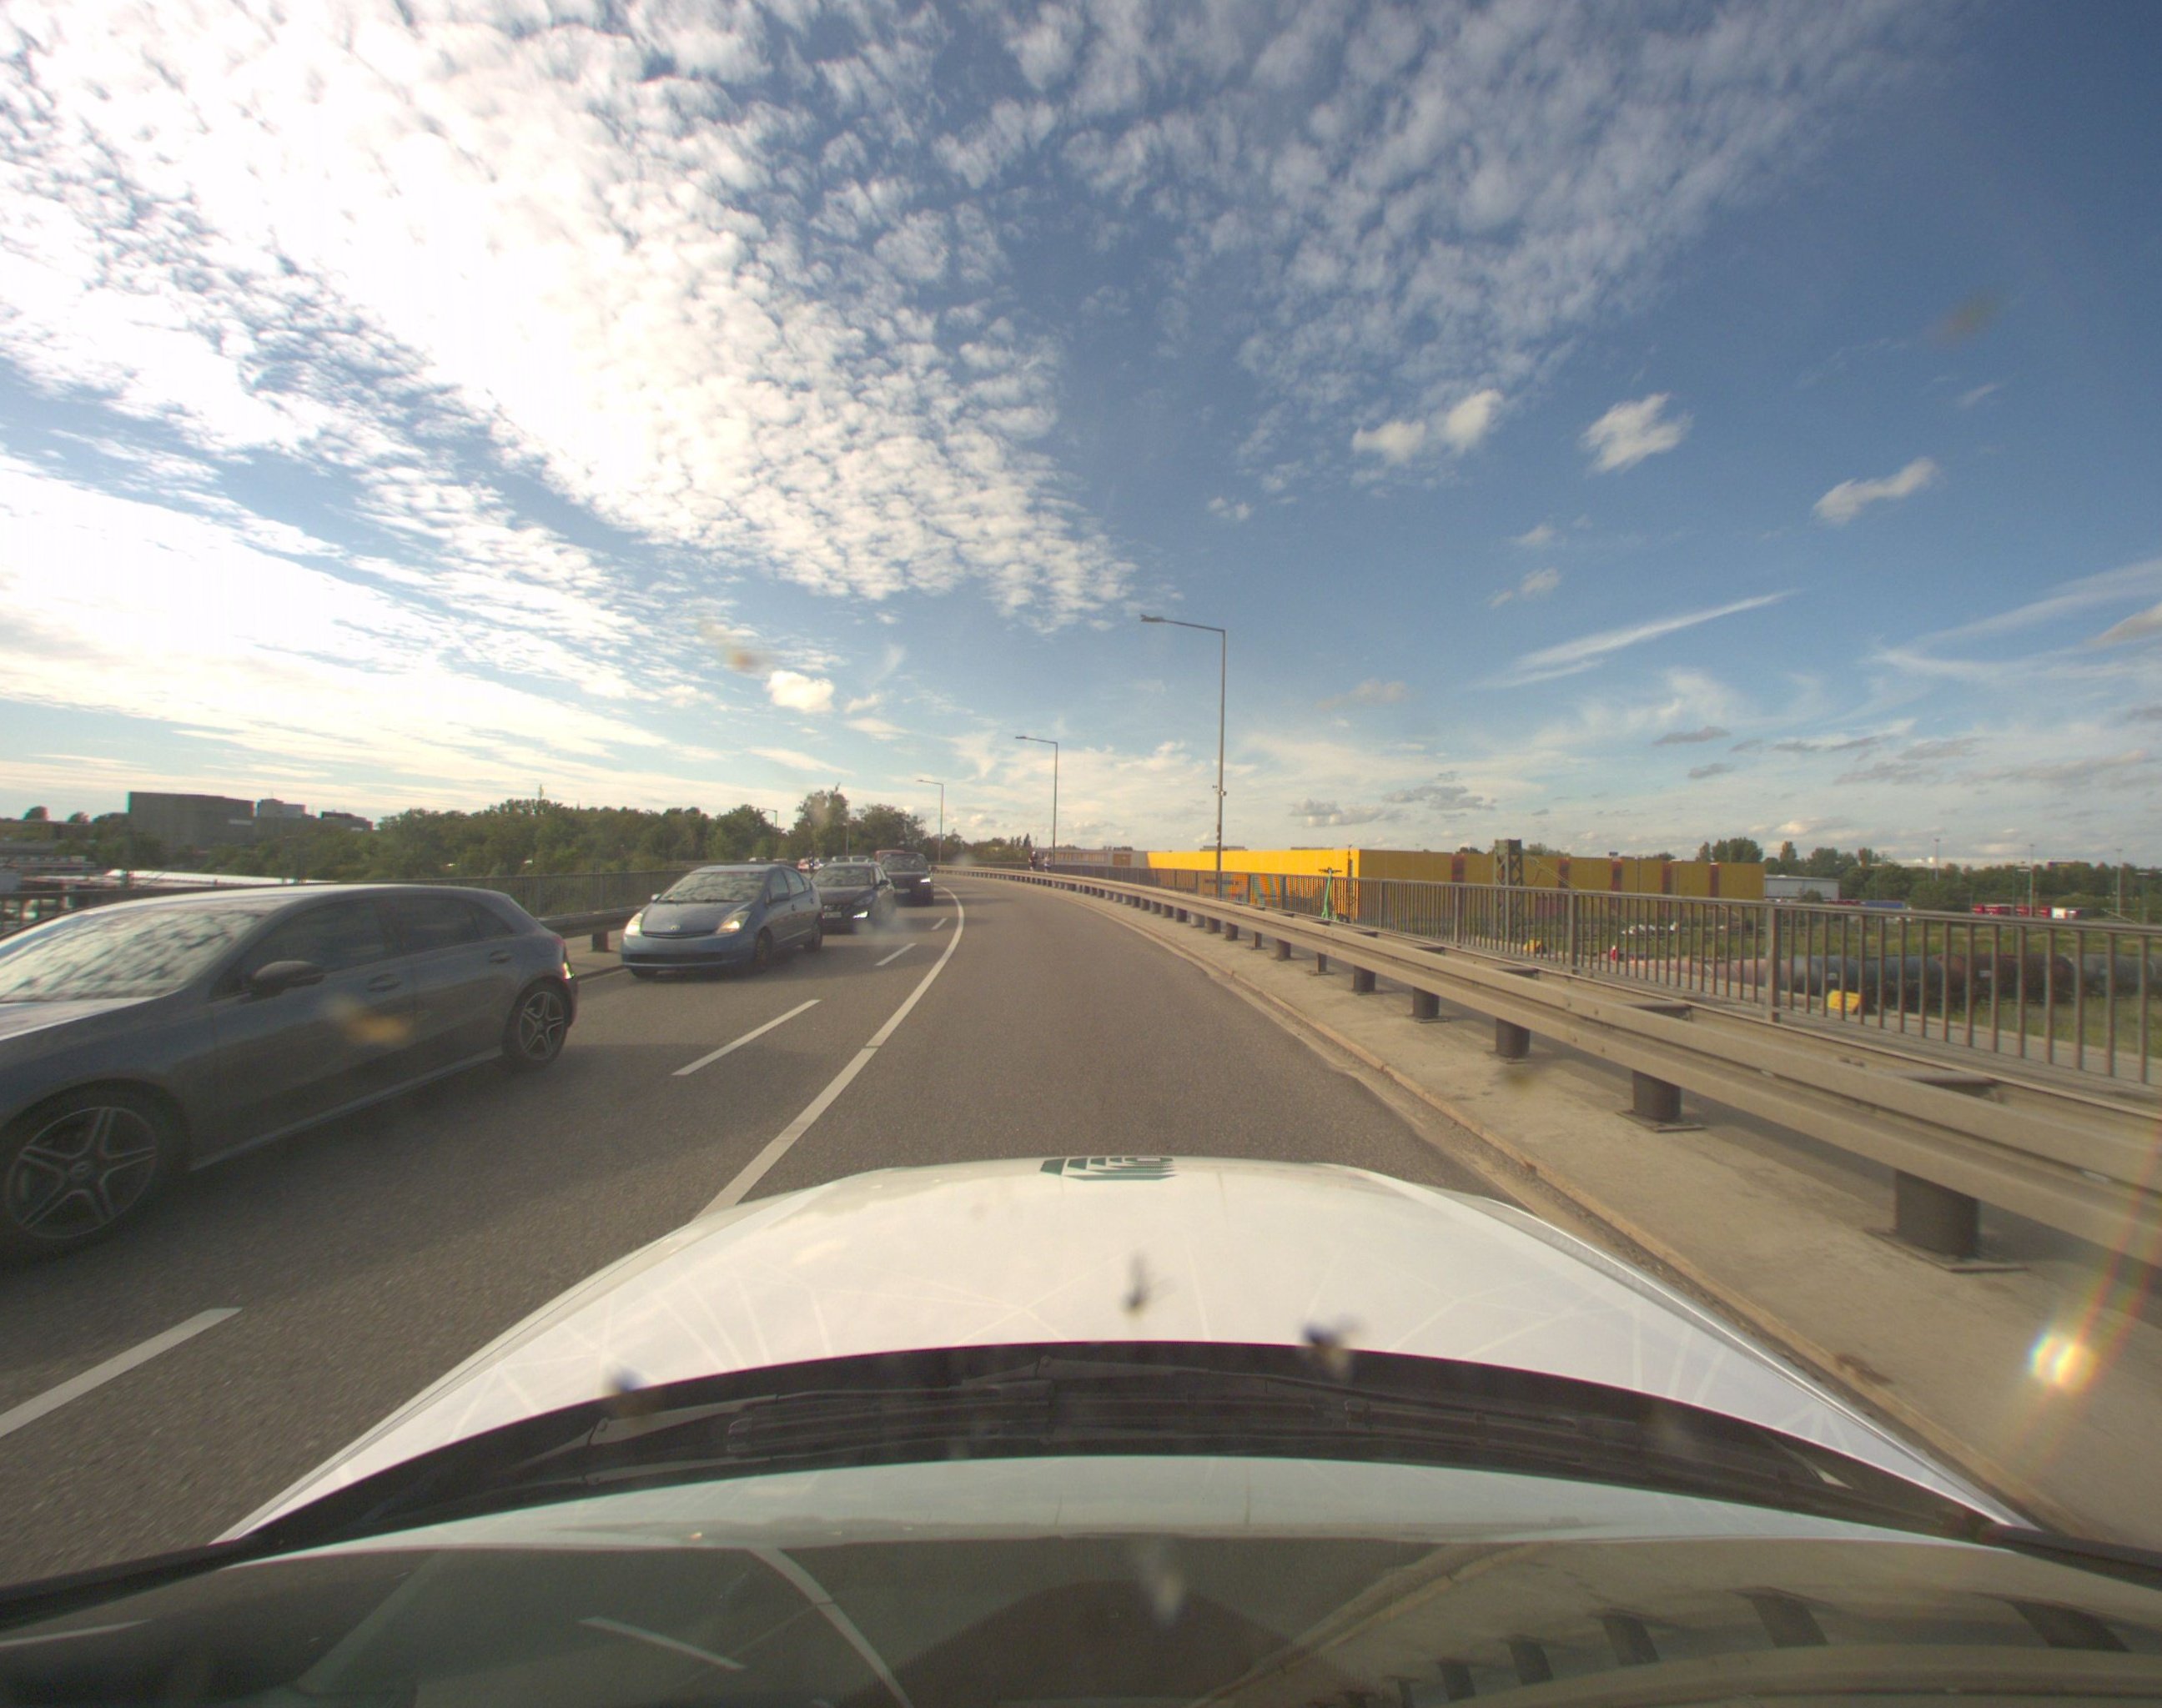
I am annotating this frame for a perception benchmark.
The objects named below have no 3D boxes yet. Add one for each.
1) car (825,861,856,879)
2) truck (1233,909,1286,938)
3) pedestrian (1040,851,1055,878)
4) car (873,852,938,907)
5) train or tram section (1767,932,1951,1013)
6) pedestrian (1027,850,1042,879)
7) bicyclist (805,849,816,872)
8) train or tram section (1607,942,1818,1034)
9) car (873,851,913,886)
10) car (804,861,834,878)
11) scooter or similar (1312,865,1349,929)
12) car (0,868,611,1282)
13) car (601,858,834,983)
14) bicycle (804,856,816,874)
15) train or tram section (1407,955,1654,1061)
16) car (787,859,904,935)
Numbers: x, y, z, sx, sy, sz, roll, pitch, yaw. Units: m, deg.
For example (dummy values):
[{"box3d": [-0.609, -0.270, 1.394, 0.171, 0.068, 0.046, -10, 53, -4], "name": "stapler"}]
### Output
[{"box3d": [-20.788, 1.370, 70.238, 1.751, 1.501, 4.040, -1, 0, -28], "name": "car"}, {"box3d": [25.944, 10.053, 118.382, 7.229, 3.617, 2.651, 0, 1, -18], "name": "truck"}, {"box3d": [-1.971, 0.607, 47.425, 0.677, 1.543, 0.956, -1, -1, -13], "name": "pedestrian"}, {"box3d": [-5.890, 0.799, 27.743, 1.829, 1.672, 4.851, -1, 0, -9], "name": "car"}, {"box3d": [59.099, 8.784, 61.689, 16.752, 4.712, 3.075, -1, -1, -21], "name": "train or tram section"}, {"box3d": [-2.680, 0.613, 46.990, 0.677, 1.661, 0.861, -1, -1, -13], "name": "pedestrian"}, {"box3d": [-19.716, 0.444, 59.361, 0.769, 1.660, 1.112, 0, -1, -20], "name": "bicyclist"}, {"box3d": [43.461, 8.955, 55.825, 16.752, 4.712, 3.075, -1, -1, -21], "name": "train or tram section"}, {"box3d": [-11.097, 0.825, 47.914, 2.012, 1.903, 4.840, -1, 0, -16], "name": "car"}, {"box3d": [-24.951, 1.482, 77.466, 1.752, 1.501, 4.036, -1, 0, -31], "name": "car"}, {"box3d": [4.794, 0.805, 15.698, 0.265, 1.162, 1.186, -1, -1, -4], "name": "scooter or similar"}, {"box3d": [-4.833, 0.861, 4.582, 1.807, 1.457, 4.324, -2, 0, 0], "name": "car"}, {"box3d": [-5.170, 0.828, 12.299, 1.756, 1.489, 4.385, -1, 0, -4], "name": "car"}, {"box3d": [-19.686, 0.791, 59.221, 0.767, 1.331, 1.903, -1, -1, -20], "name": "bicycle"}, {"box3d": [27.813, 9.176, 49.956, 16.752, 4.712, 3.075, -1, -1, -21], "name": "train or tram section"}, {"box3d": [-5.228, 0.877, 18.658, 1.757, 1.489, 4.436, -1, 0, -6], "name": "car"}]
